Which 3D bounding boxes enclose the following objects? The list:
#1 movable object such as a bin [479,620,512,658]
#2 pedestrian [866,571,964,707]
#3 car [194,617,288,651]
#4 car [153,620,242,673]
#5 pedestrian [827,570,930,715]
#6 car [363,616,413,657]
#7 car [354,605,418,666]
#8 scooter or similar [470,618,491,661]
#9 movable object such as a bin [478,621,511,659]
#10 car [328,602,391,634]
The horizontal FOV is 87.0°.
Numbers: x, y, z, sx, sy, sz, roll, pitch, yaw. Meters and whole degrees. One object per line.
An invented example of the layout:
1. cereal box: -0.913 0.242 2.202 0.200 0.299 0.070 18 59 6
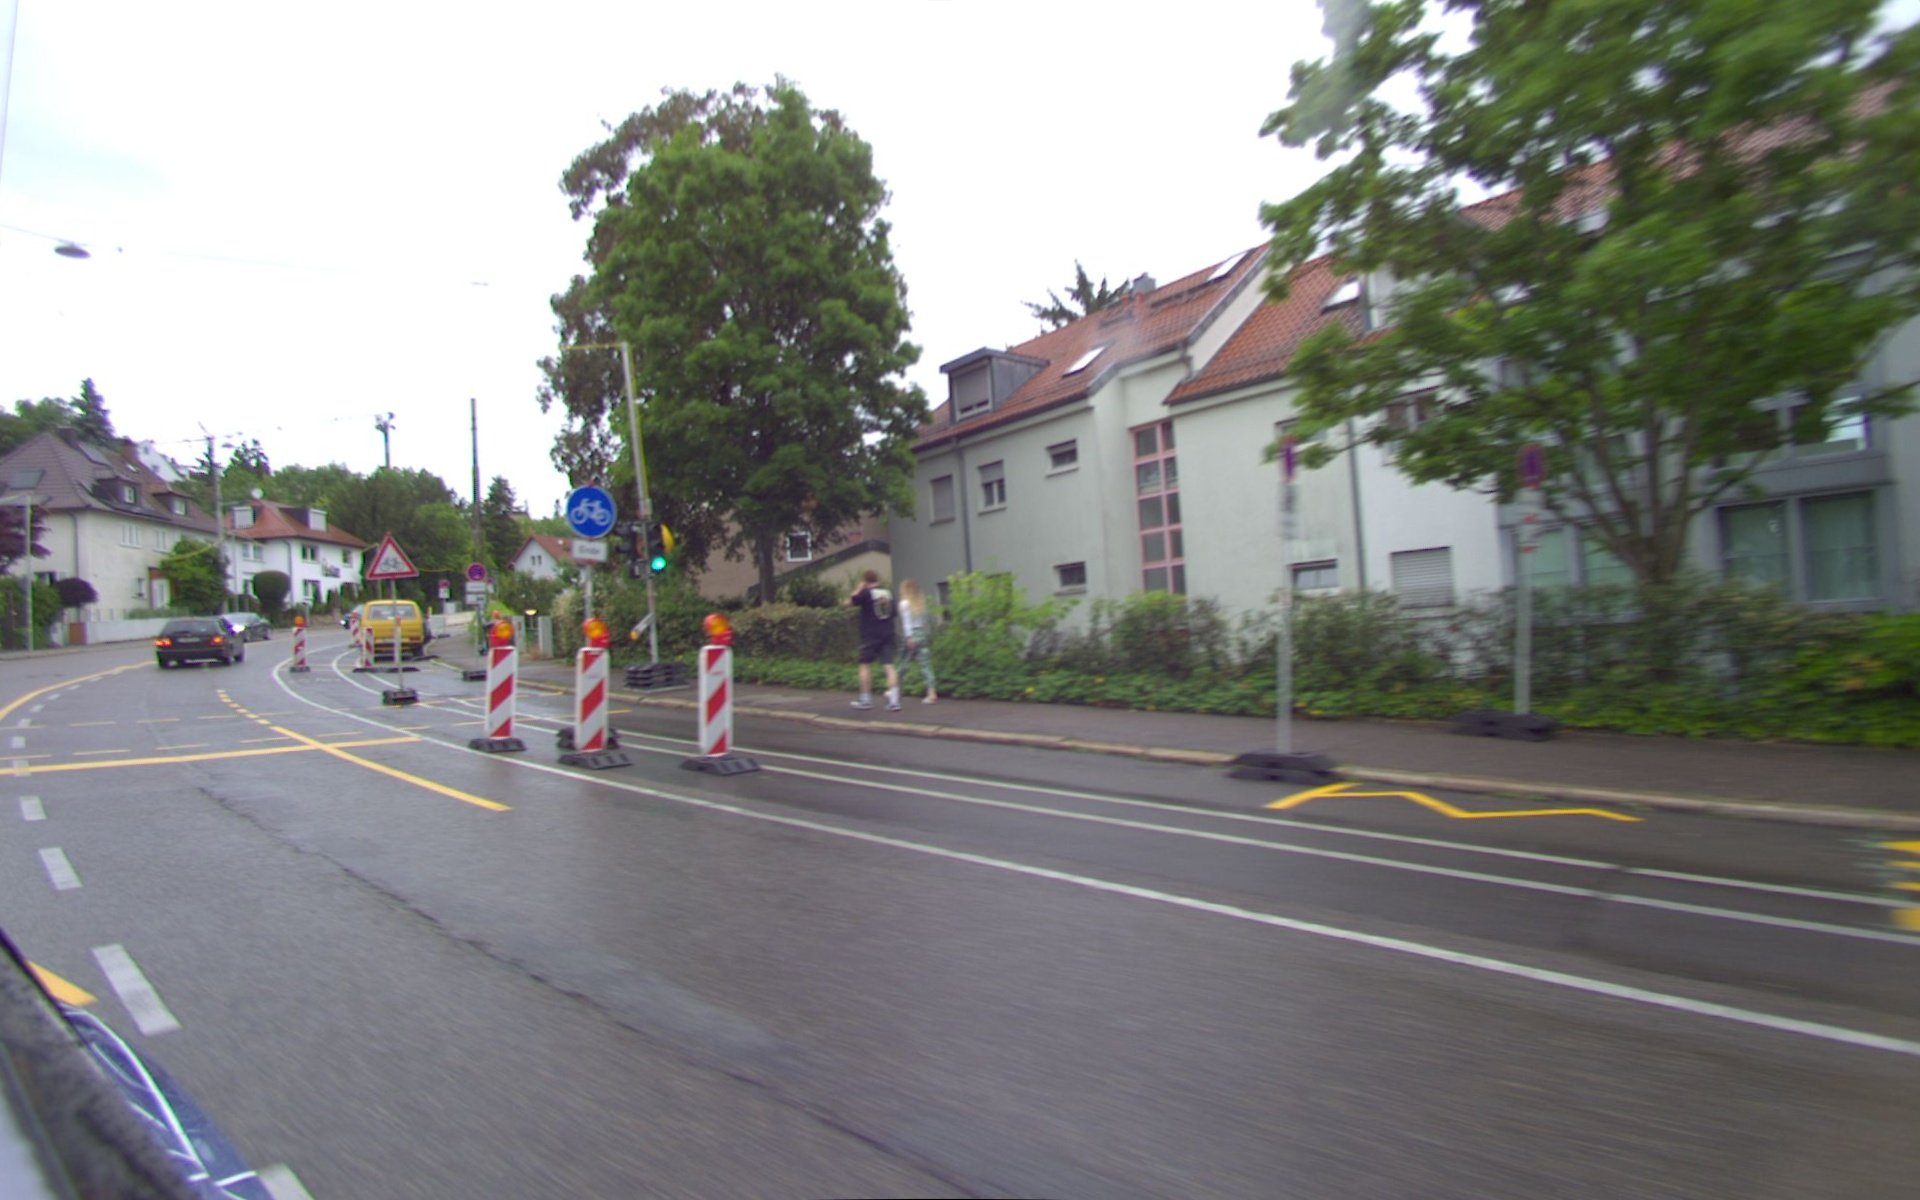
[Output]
1. movable object such as a bin: -14.991 1.247 32.645 0.847 1.148 0.714 -2 1 -32
2. pedestrian: -0.633 0.539 14.208 1.155 1.830 0.673 -3 -1 42
3. car: -35.728 1.640 50.416 1.958 1.447 4.524 -2 1 -9
4. car: -23.249 1.382 31.005 1.675 1.472 4.697 0 -1 -31
5. pedestrian: -1.098 0.554 13.498 1.147 1.830 0.700 -3 -1 42
6. car: -22.252 1.388 39.435 1.552 1.465 3.476 -1 0 -27
7. car: -19.418 1.135 34.276 1.778 1.942 4.591 0 -1 -29
8. scooter or similar: -15.503 1.260 32.728 0.393 1.269 1.321 -4 2 -19
9. movable object such as a bin: -14.687 1.256 31.950 0.847 1.148 0.714 -2 1 -32
10. car: -40.248 1.193 67.953 1.986 1.954 4.004 -1 1 -4
